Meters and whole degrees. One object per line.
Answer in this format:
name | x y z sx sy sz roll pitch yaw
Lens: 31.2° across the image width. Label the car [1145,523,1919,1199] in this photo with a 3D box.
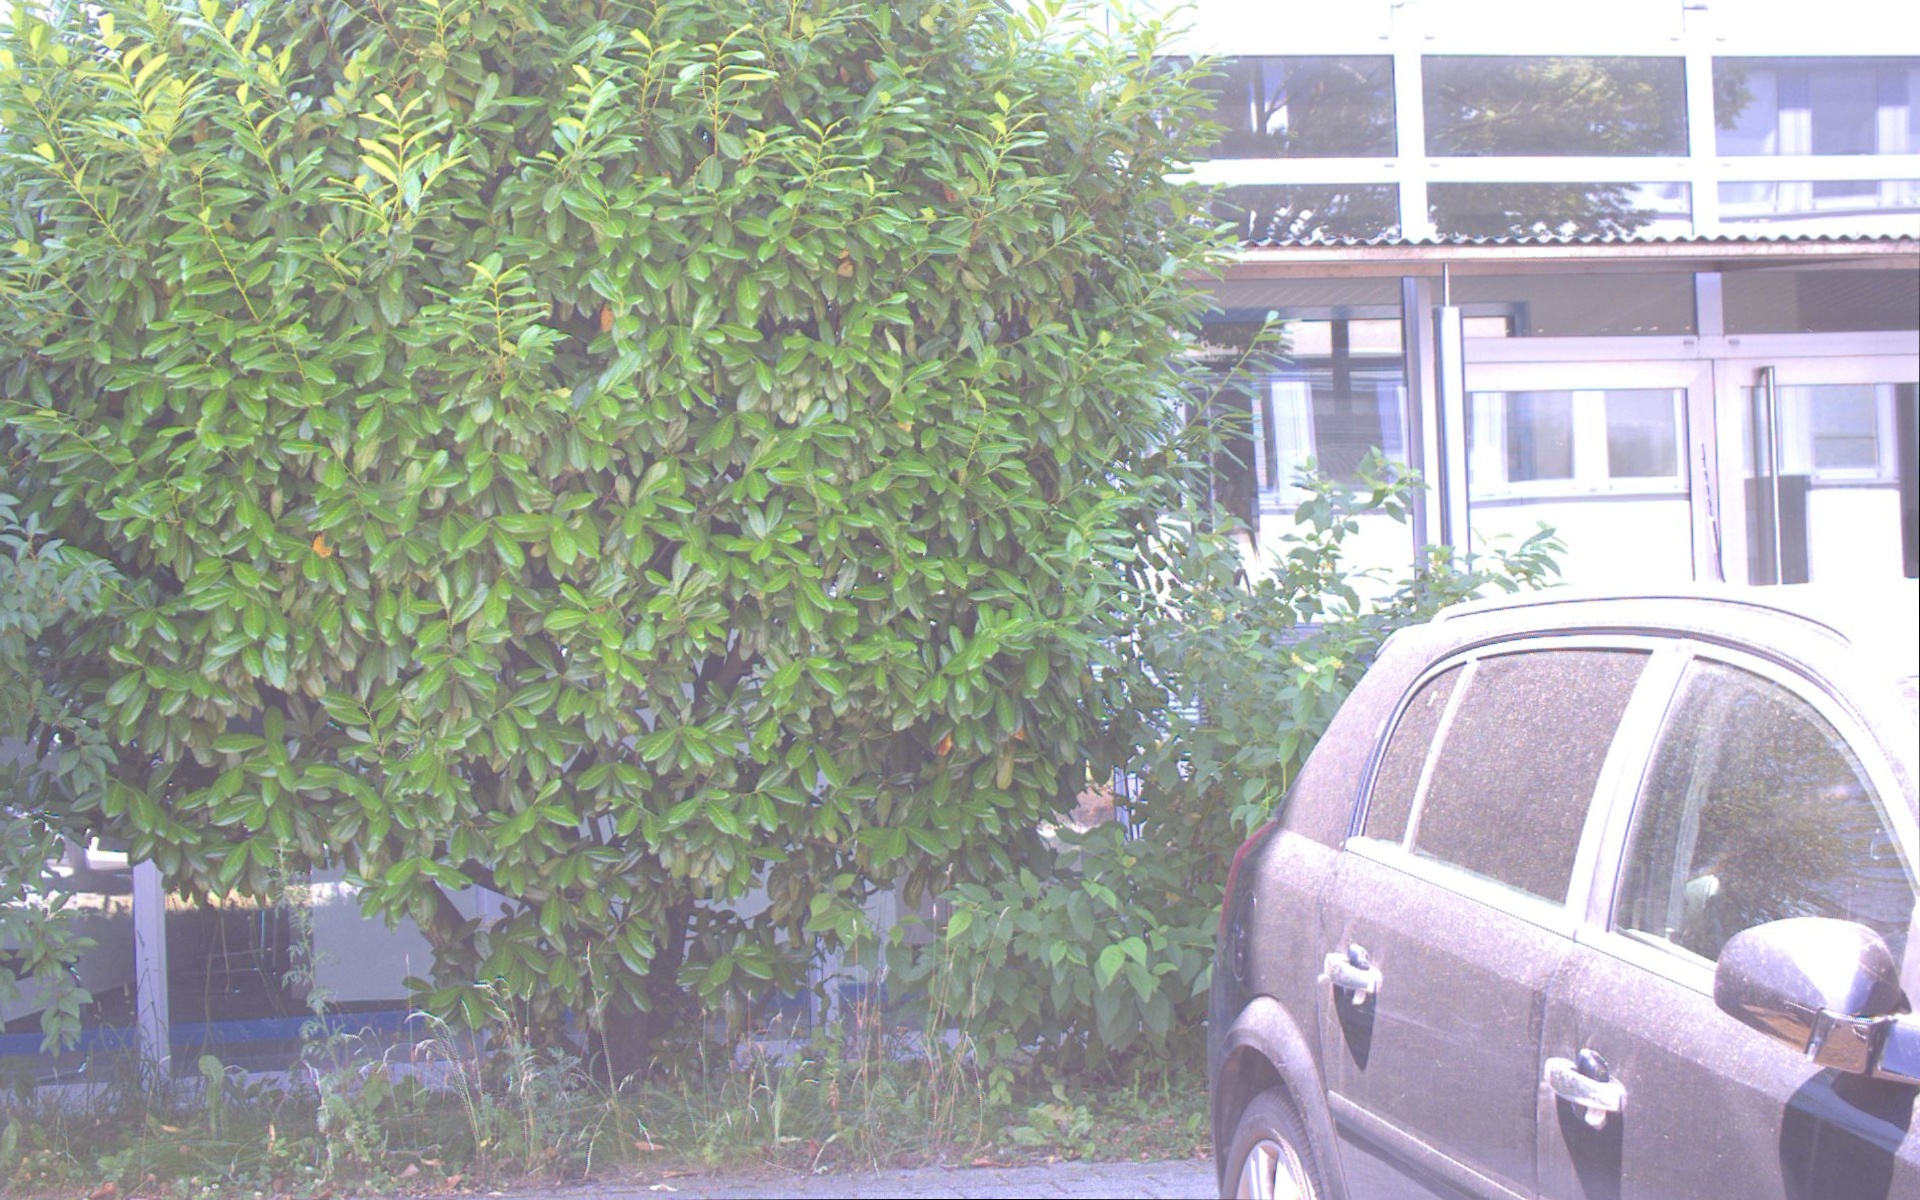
car | 1.656 0.694 4.435 1.757 1.544 4.566 0 0 -11
